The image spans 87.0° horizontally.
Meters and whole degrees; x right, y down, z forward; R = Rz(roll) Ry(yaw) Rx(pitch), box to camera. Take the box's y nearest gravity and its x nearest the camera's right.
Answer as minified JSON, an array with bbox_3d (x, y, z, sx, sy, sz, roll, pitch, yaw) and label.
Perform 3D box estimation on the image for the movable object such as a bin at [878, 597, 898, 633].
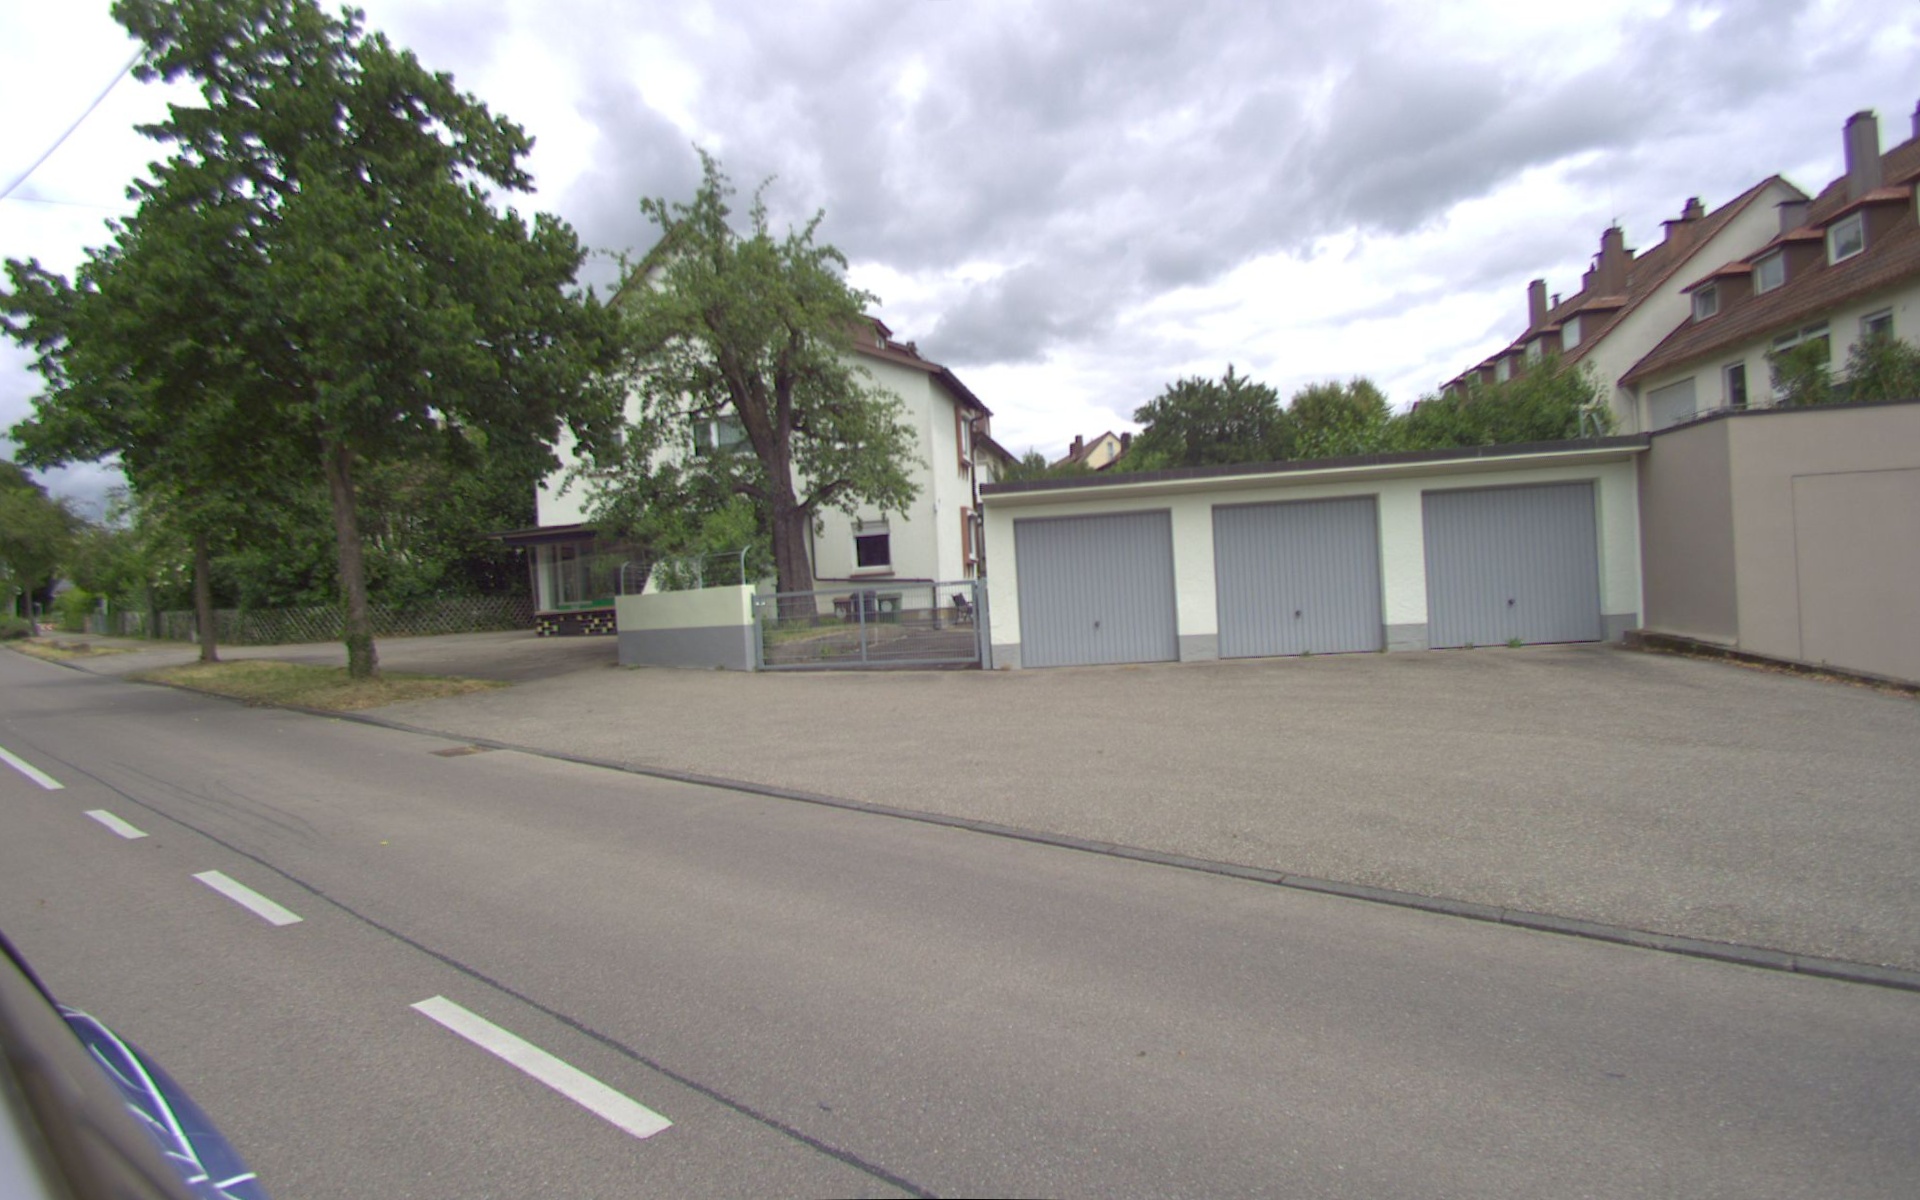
[{"bbox_3d":[-1.788,0.367,25.205,0.385,0.888,0.457,-2,0,11],"label":"movable object such as a bin"}]

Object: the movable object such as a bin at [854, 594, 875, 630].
[{"bbox_3d":[-2.394,0.295,25.407,0.385,0.888,0.457,-2,0,11],"label":"movable object such as a bin"}]

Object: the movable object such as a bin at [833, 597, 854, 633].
[{"bbox_3d":[-2.946,0.379,25.653,0.385,0.888,0.457,-2,0,11],"label":"movable object such as a bin"}]
